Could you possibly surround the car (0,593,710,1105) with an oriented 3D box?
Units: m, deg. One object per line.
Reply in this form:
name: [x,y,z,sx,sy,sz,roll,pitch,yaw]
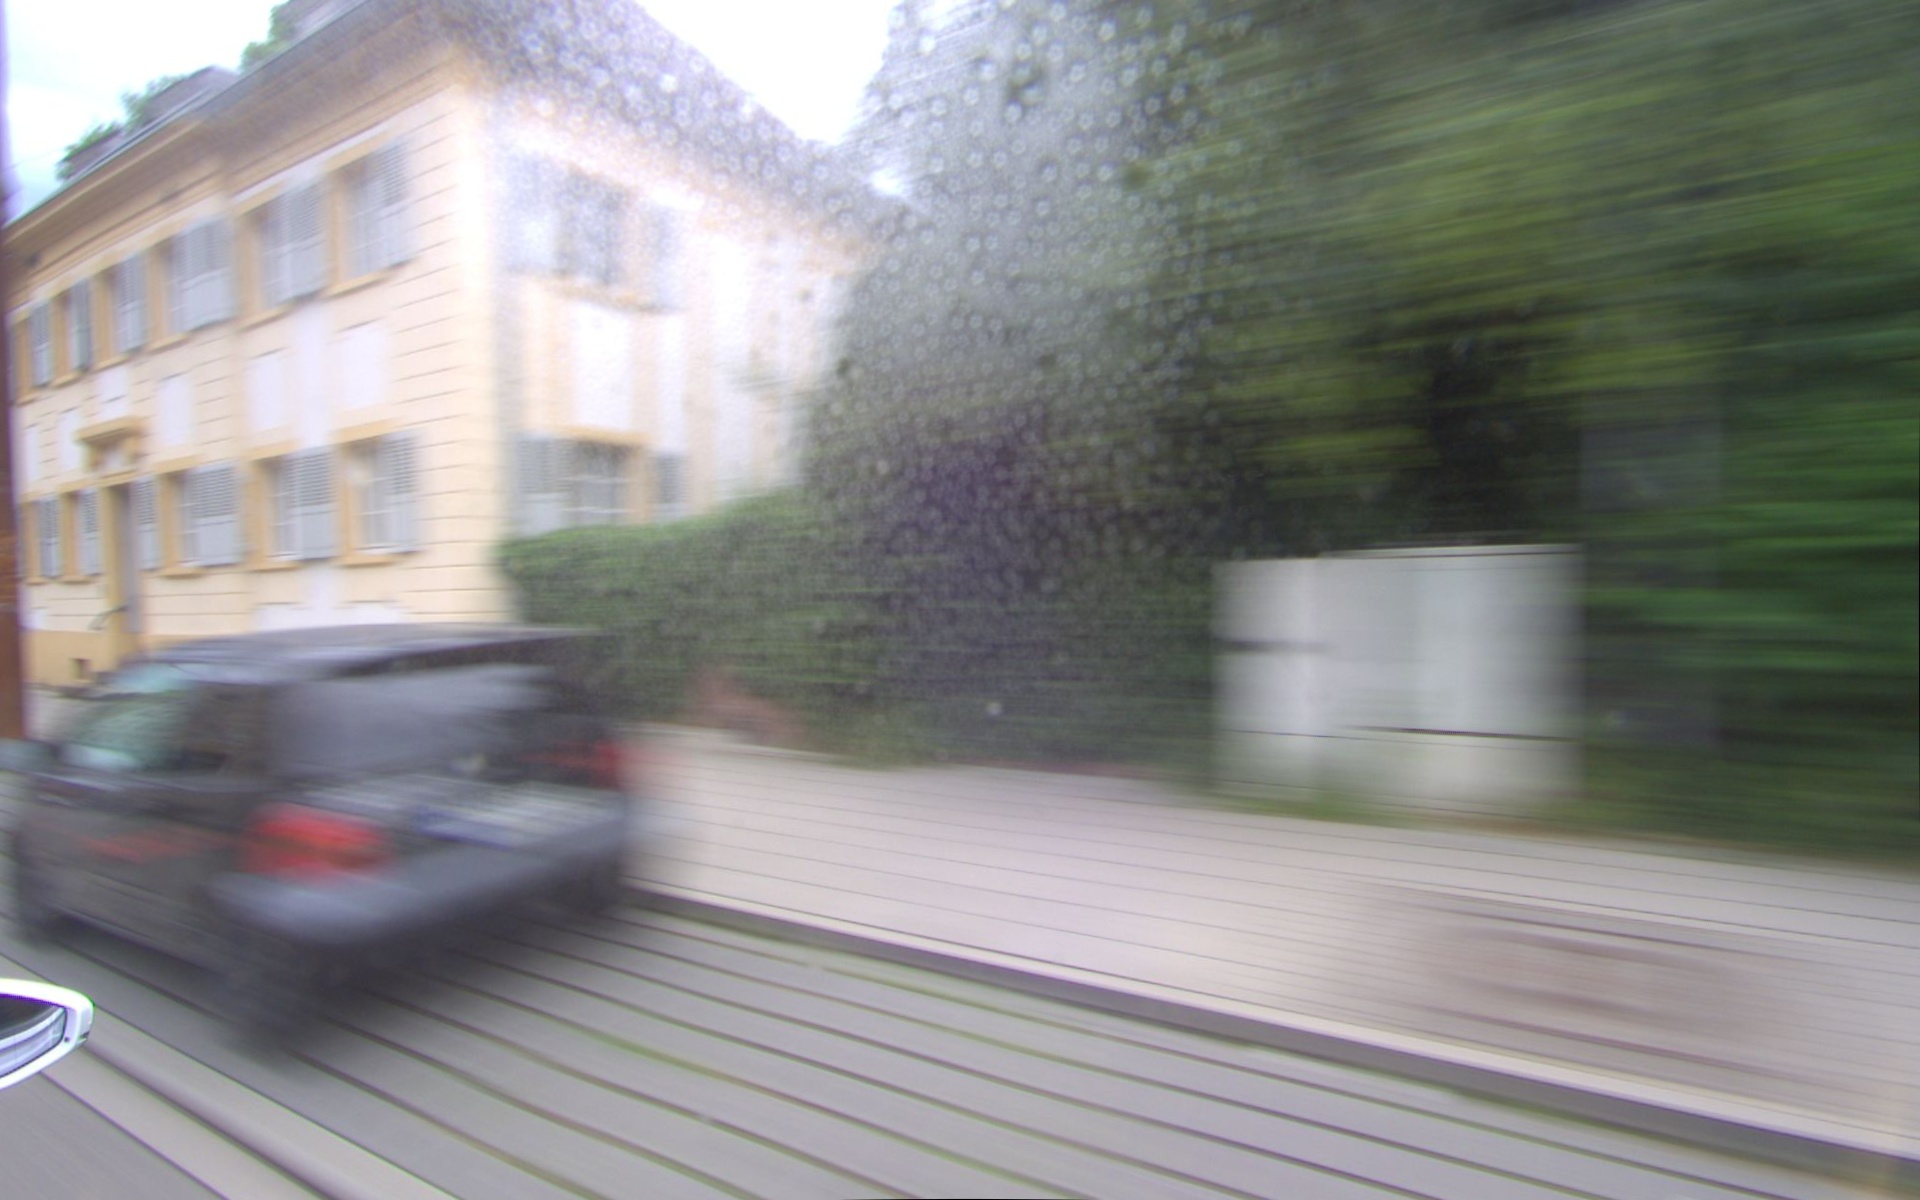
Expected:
car: [-3.171,0.756,4.674,3.874,1.453,1.633,-1,3,32]
